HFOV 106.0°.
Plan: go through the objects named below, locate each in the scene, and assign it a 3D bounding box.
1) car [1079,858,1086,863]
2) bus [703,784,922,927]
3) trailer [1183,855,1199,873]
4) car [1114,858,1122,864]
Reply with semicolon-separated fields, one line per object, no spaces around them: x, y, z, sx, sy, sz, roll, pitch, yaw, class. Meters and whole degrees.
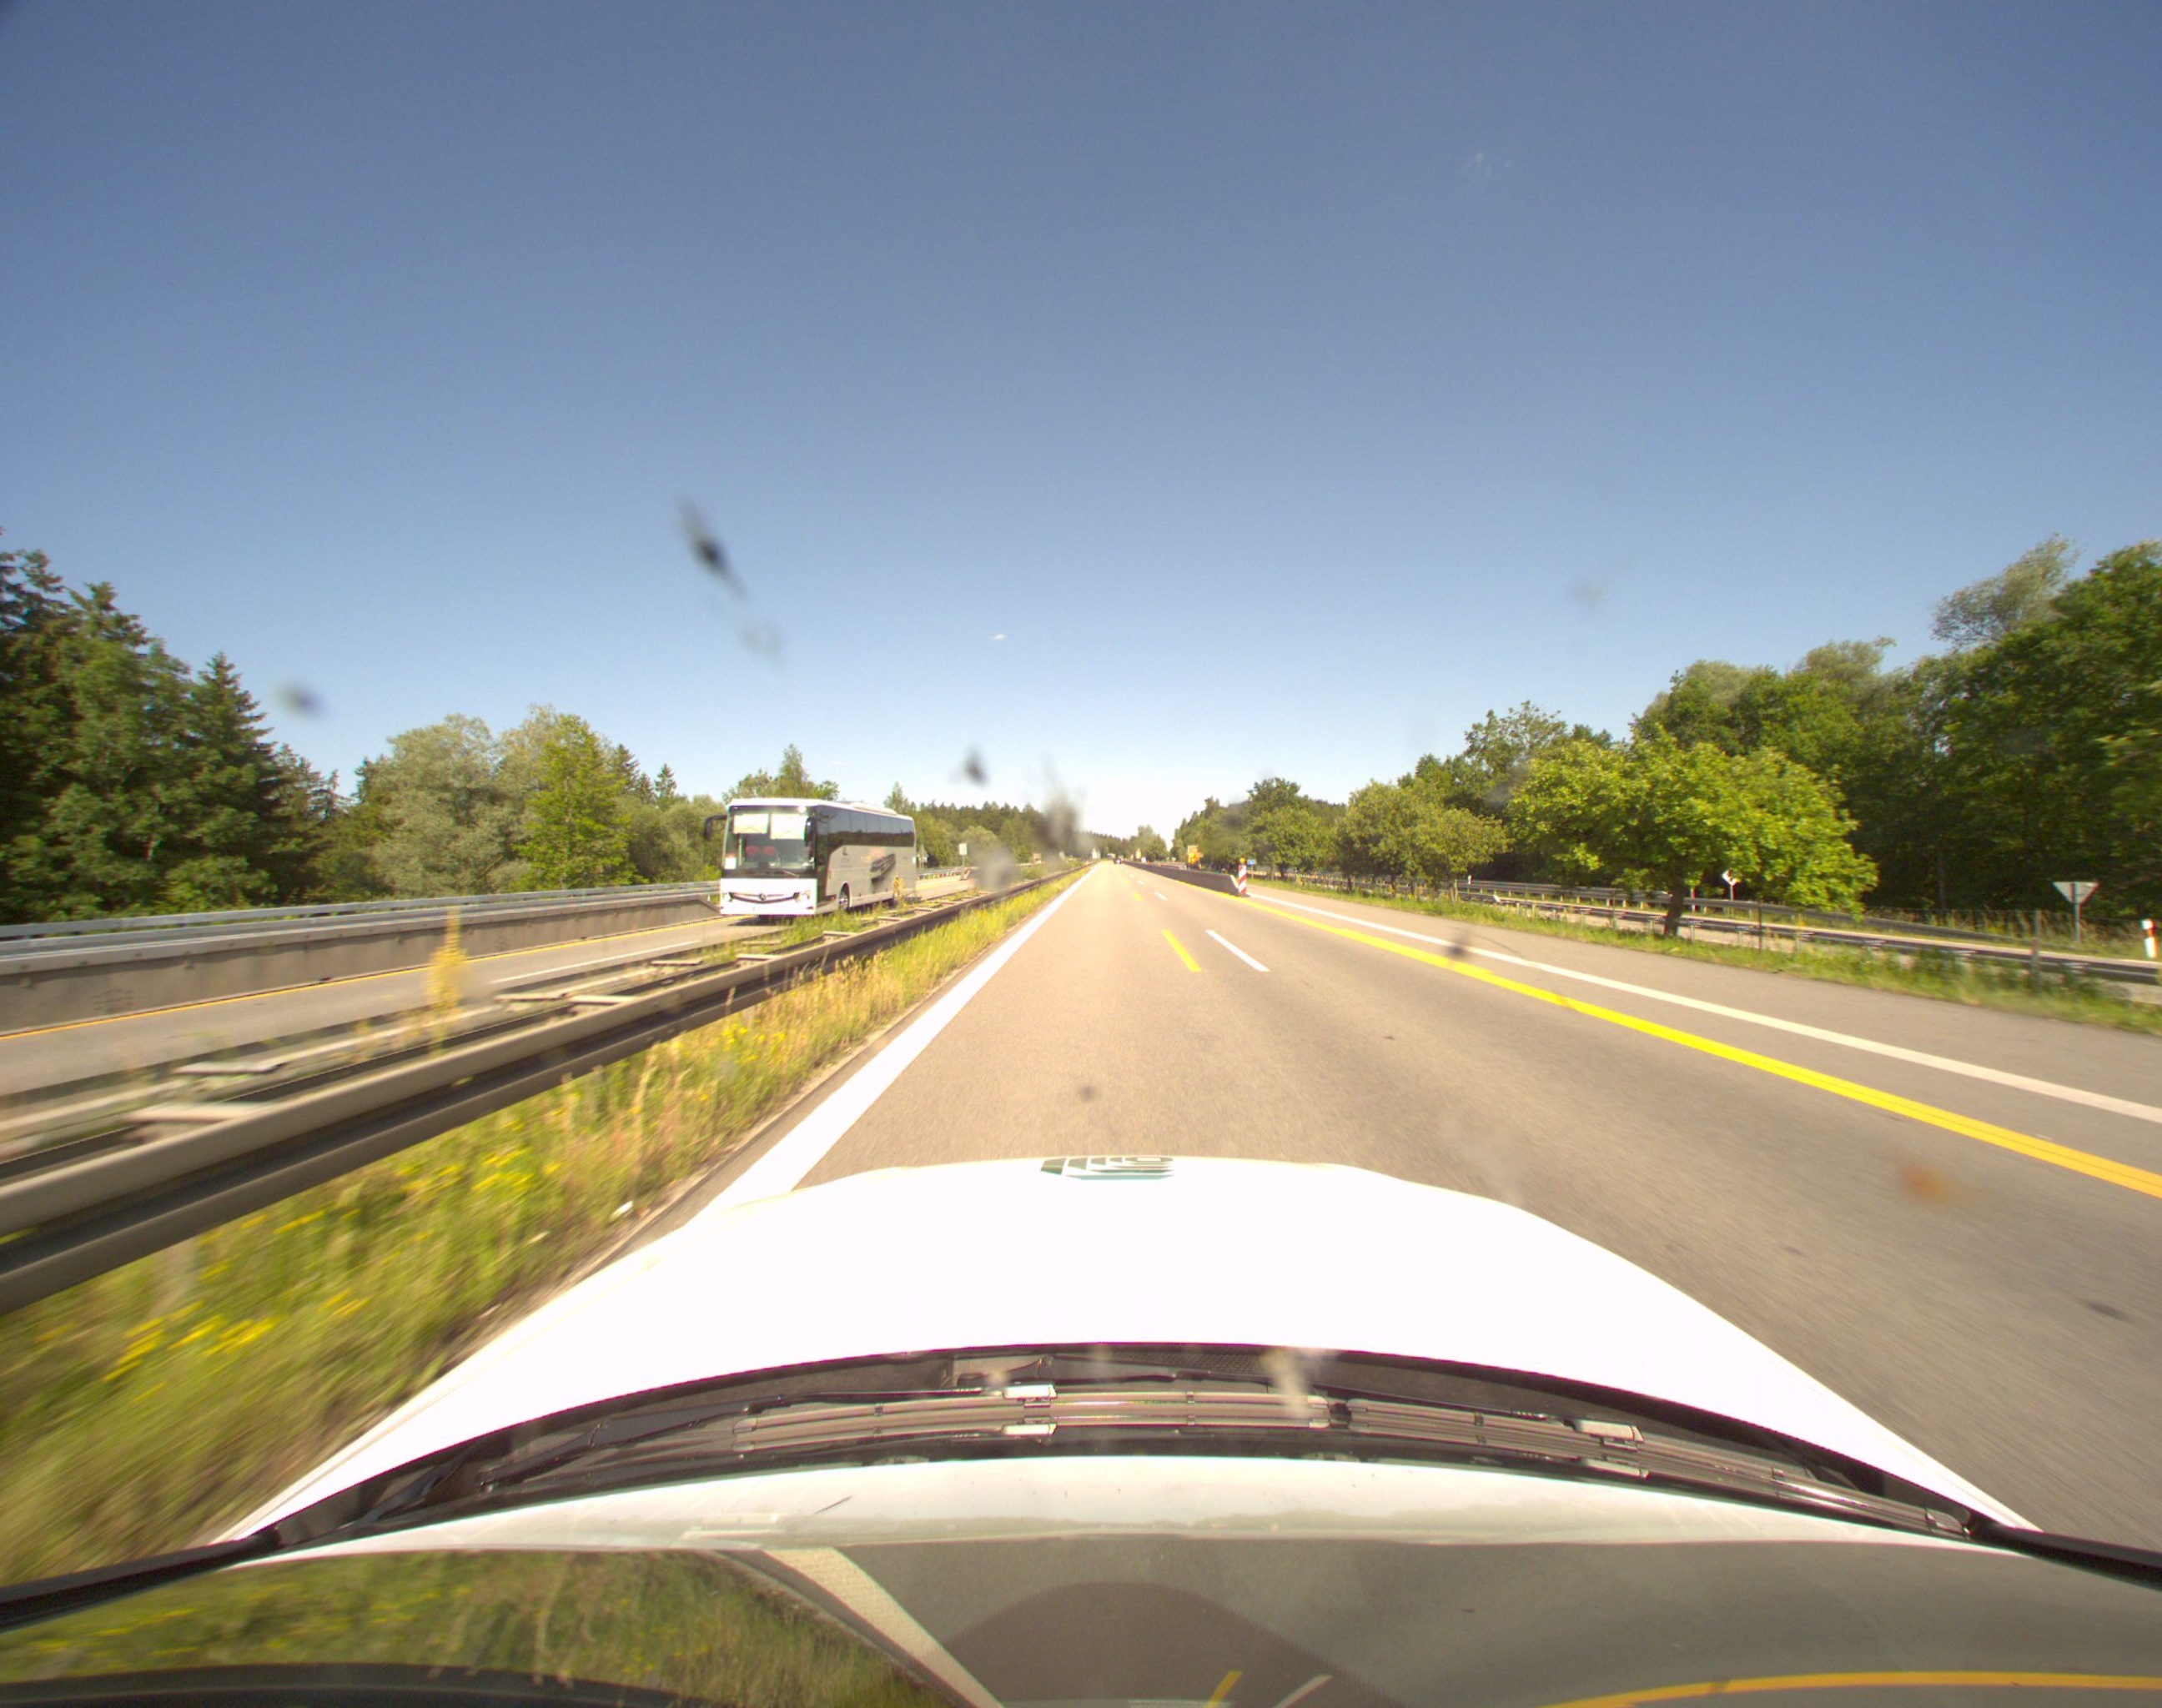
0.340;1.808;219.696;1.639;1.377;4.811;-1;0;3;car
-8.168;0.066;27.430;2.871;3.671;12.919;-1;0;1;bus
11.780;1.027;87.387;1.121;1.874;3.999;-1;0;0;trailer
8.998;1.763;197.750;1.737;1.466;4.295;-1;0;2;car
